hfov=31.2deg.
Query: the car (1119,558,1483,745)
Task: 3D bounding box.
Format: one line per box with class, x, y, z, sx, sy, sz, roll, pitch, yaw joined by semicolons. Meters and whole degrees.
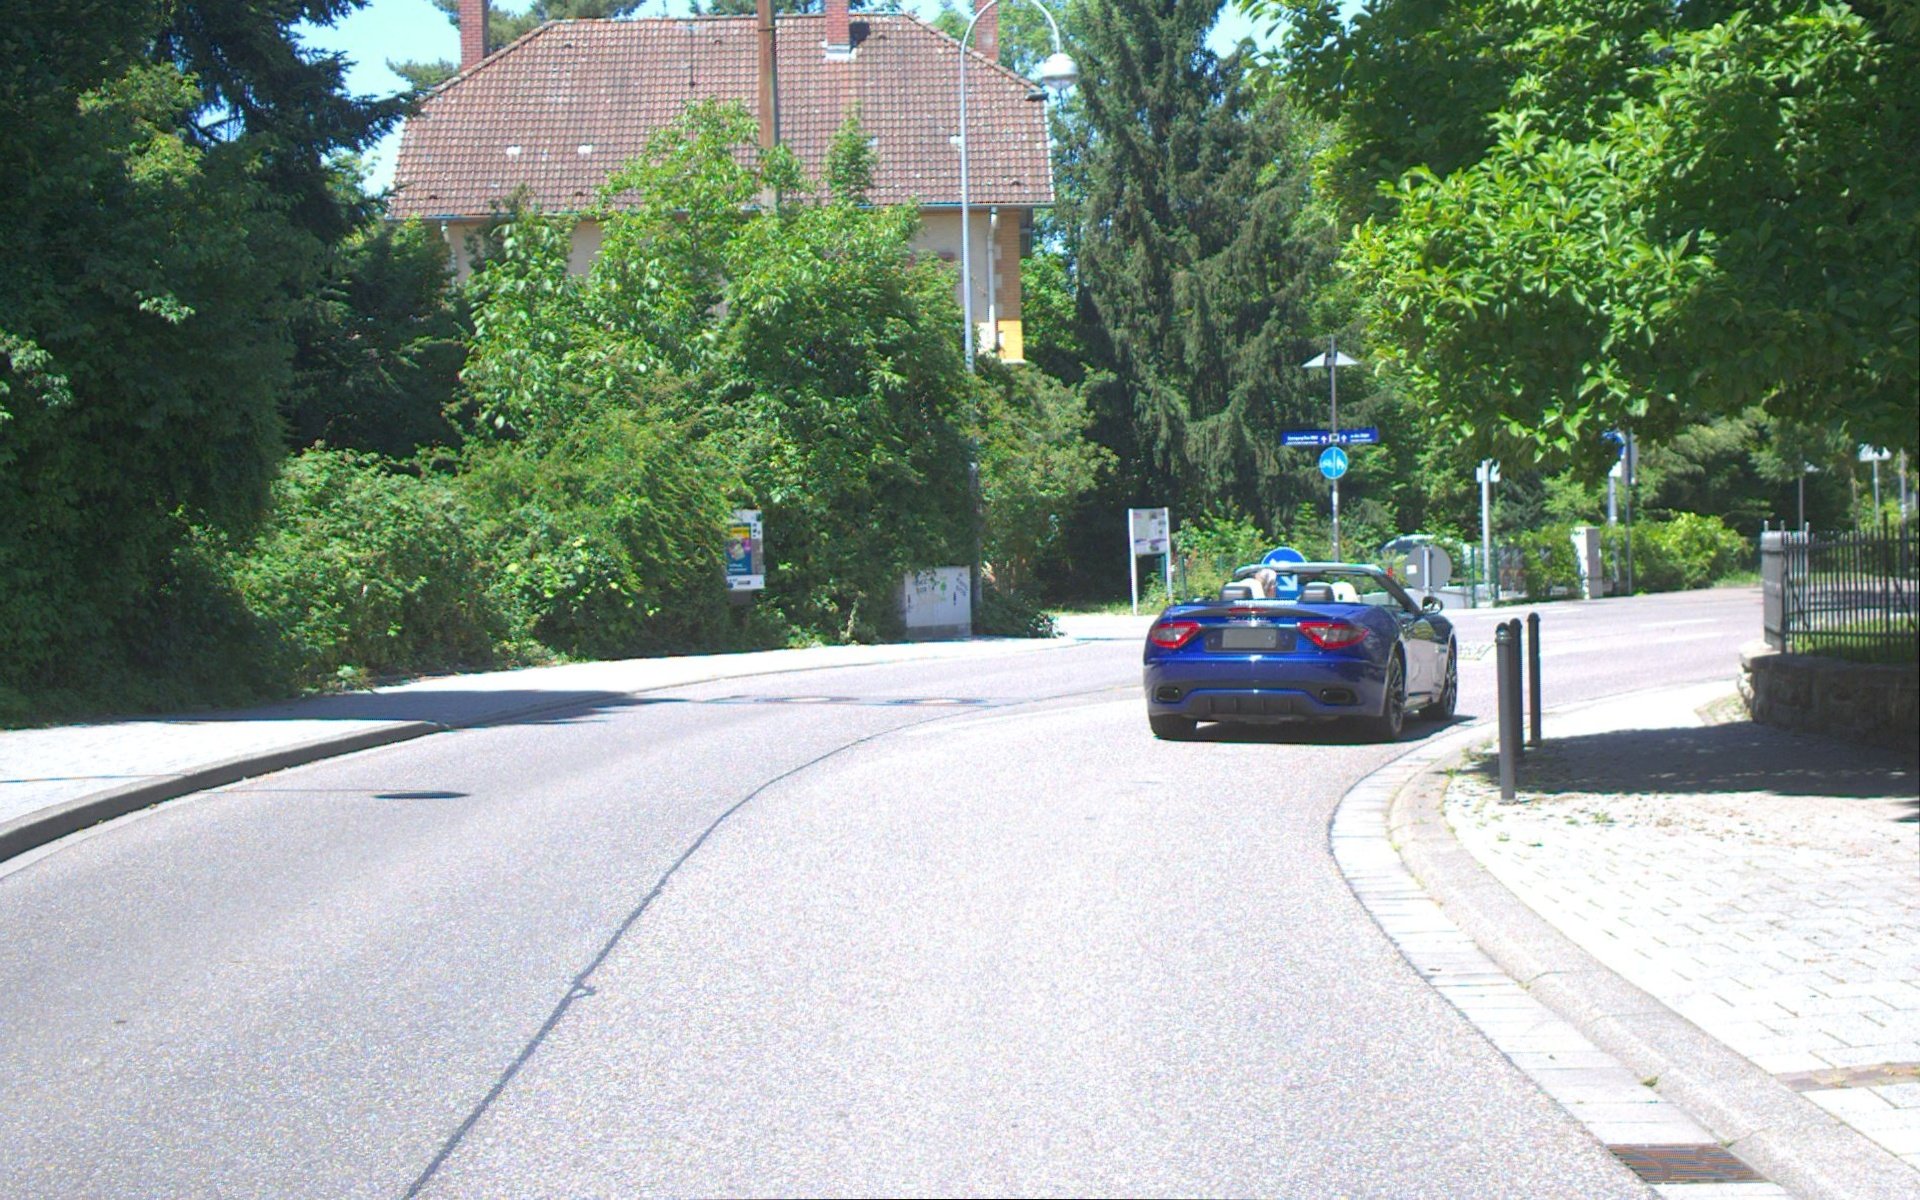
car;2.808;0.342;27.283;1.828;1.332;4.696;1;1;19
